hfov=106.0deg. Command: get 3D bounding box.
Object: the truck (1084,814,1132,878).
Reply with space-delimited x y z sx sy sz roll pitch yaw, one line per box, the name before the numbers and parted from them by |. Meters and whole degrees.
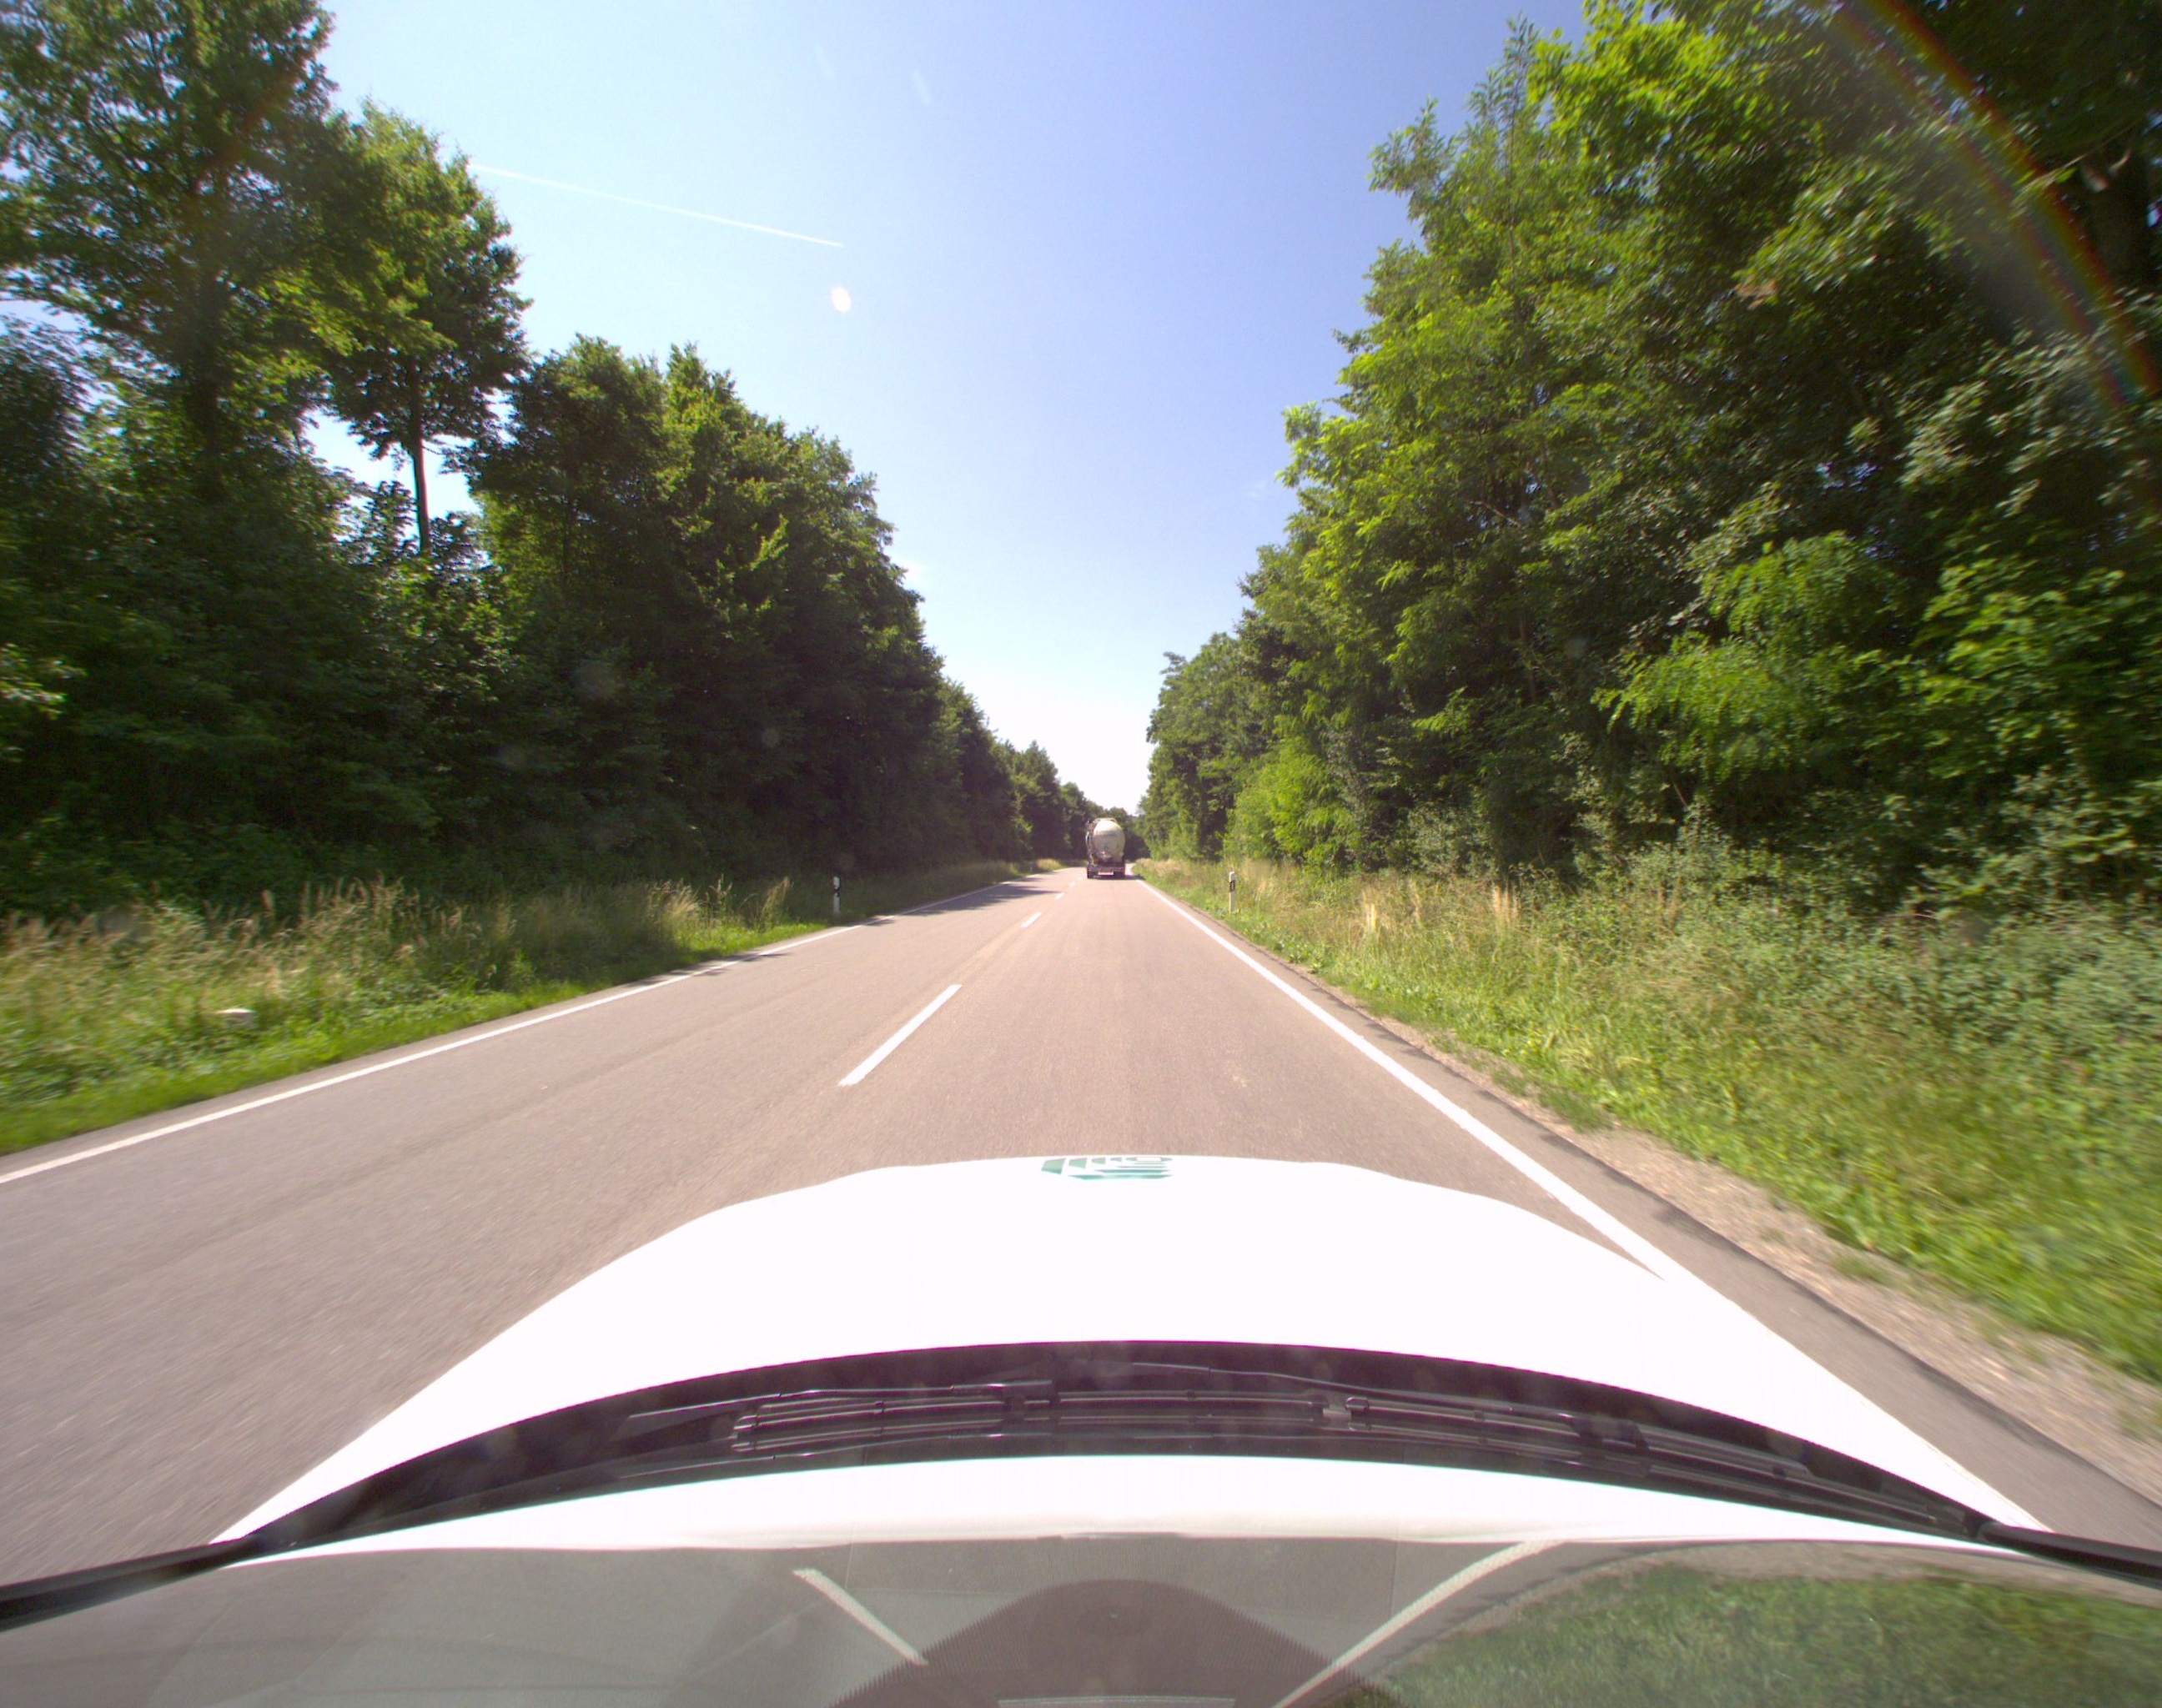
truck | 1.916 -0.482 59.161 3.038 3.998 15.641 1 0 2
